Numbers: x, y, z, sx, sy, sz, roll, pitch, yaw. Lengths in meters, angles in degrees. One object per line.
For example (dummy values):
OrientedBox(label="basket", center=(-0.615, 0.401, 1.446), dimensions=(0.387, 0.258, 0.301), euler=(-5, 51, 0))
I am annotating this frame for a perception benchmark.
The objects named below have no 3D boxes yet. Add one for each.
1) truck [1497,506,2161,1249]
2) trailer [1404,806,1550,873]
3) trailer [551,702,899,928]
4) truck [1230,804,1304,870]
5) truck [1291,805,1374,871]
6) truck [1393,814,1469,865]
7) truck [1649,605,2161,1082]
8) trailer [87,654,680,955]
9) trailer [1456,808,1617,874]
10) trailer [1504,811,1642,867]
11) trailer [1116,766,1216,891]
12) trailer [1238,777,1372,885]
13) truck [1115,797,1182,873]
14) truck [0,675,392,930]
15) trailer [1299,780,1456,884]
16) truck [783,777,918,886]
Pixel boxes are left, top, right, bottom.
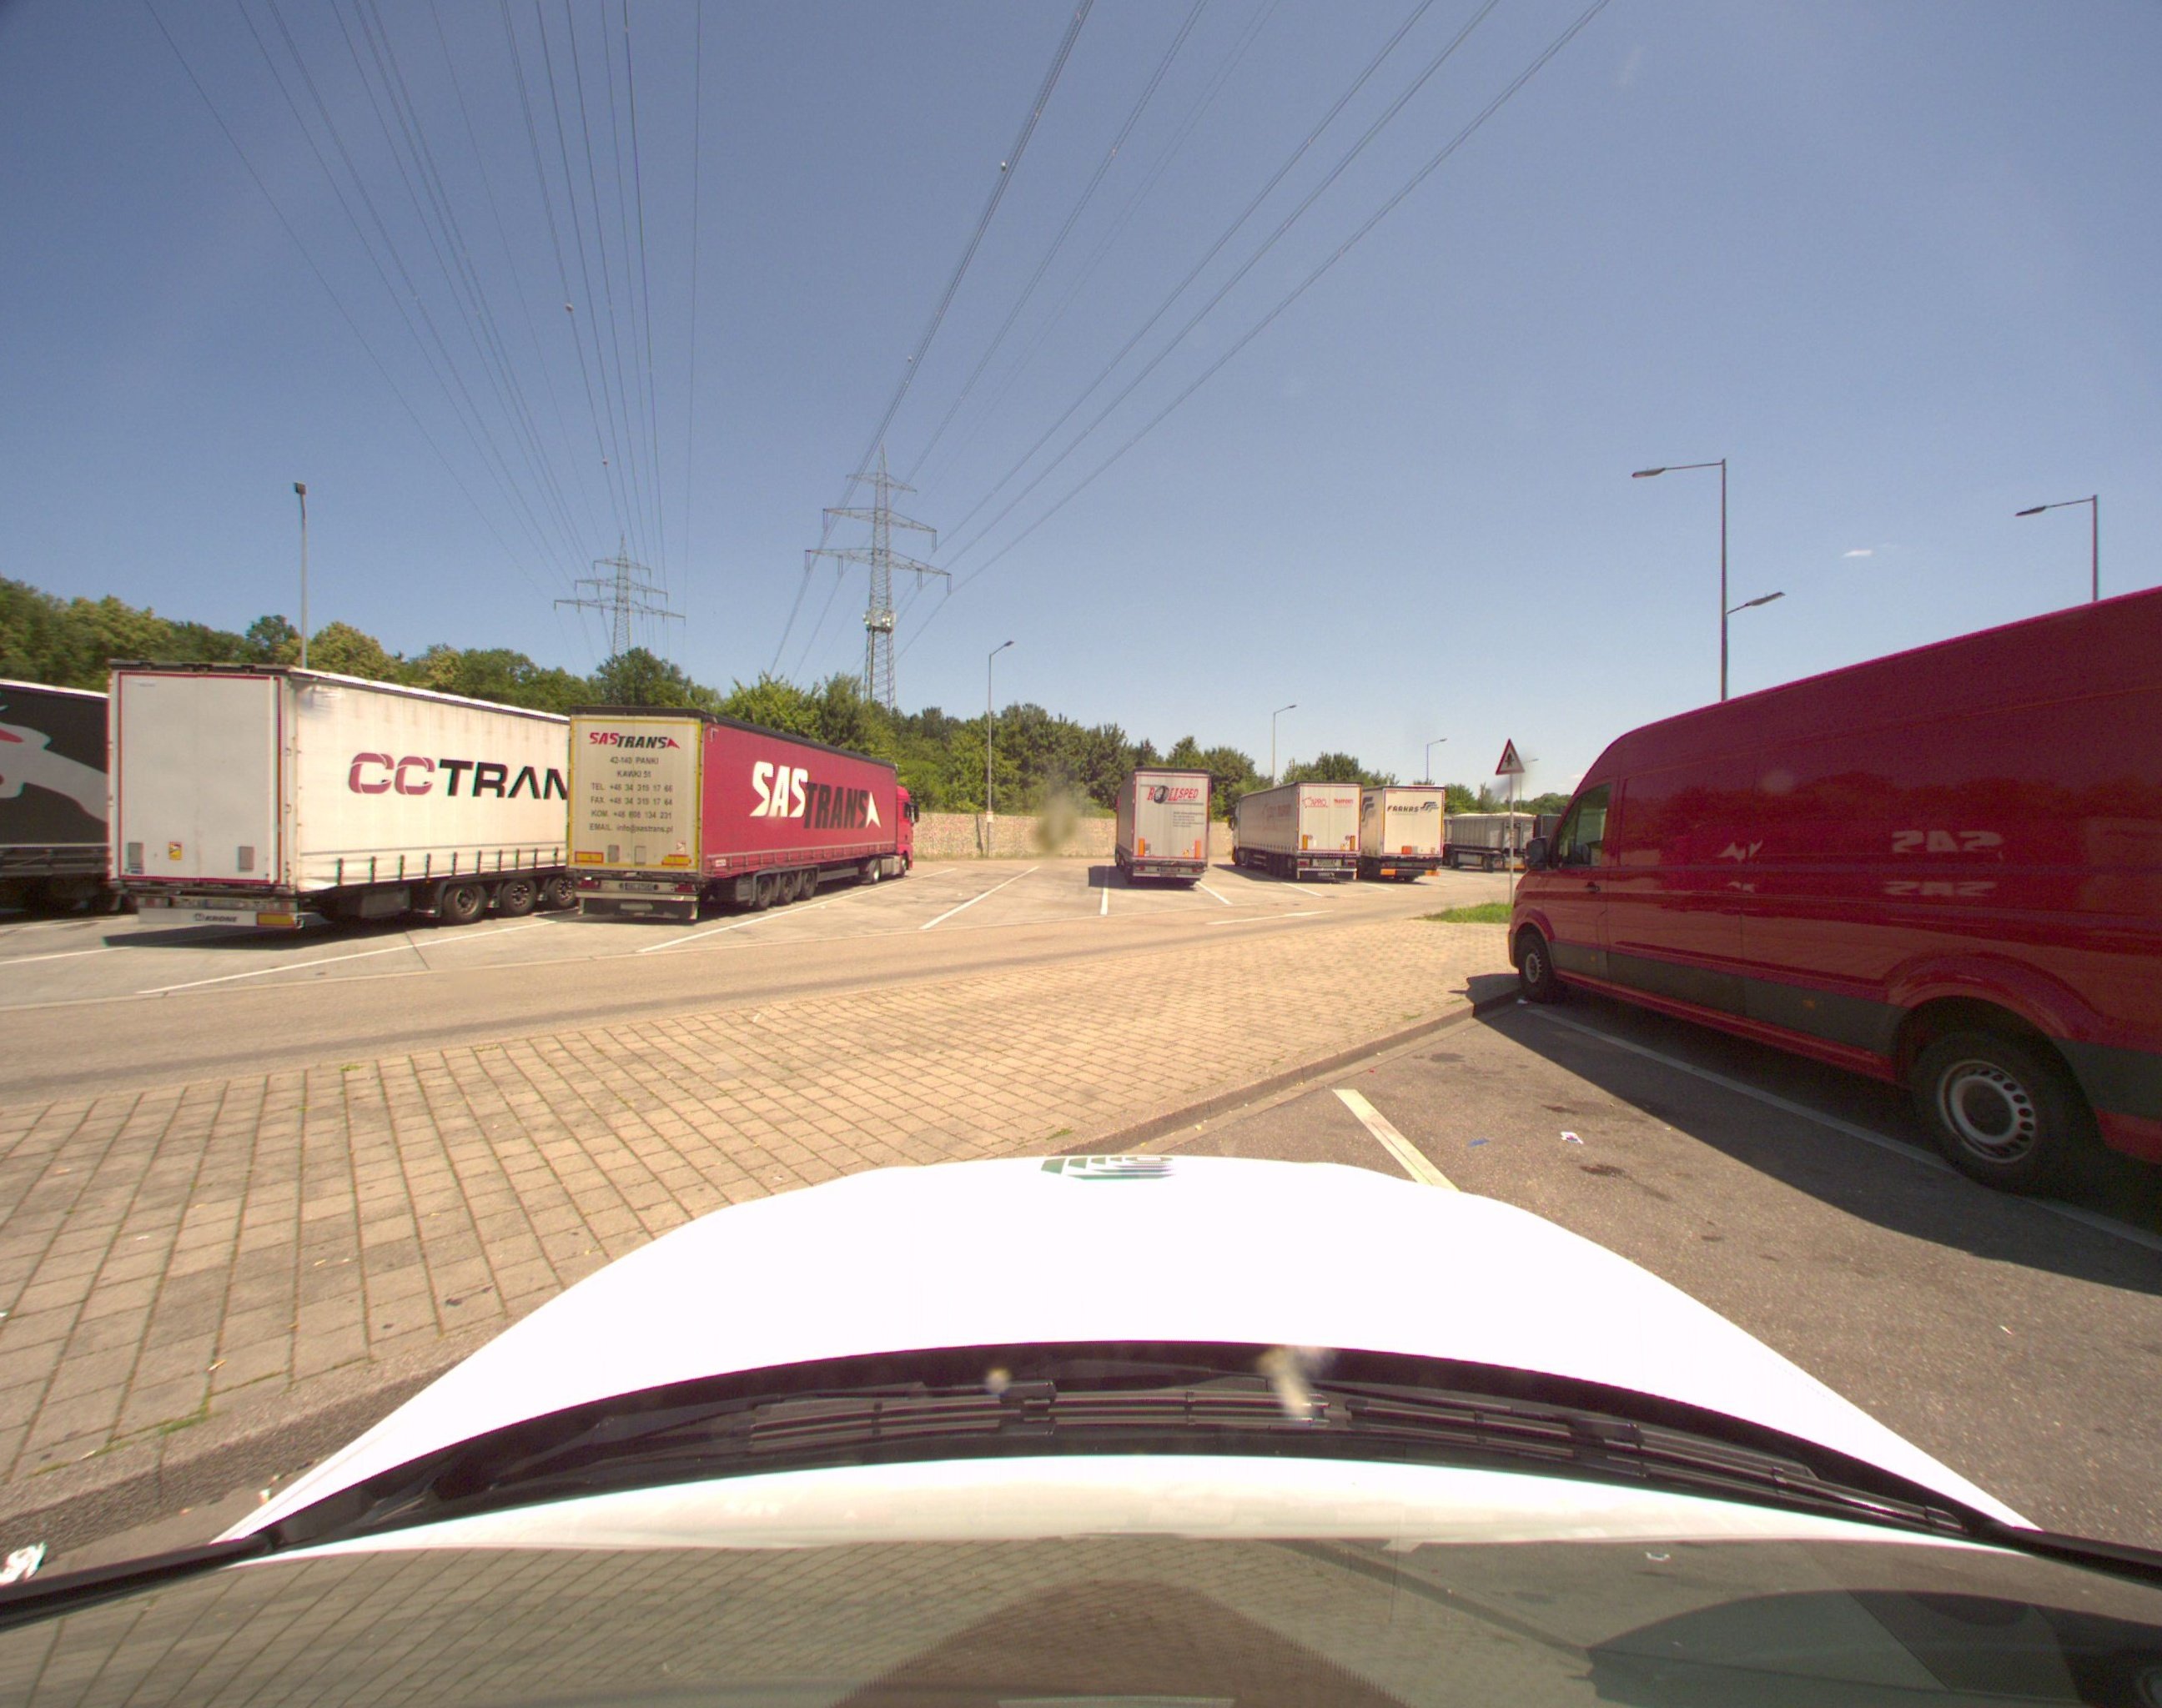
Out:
OrientedBox(label="truck", center=(5.137, 0.080, 5.450), dimensions=(2.001, 2.651, 6.466), euler=(-1, 0, 6))
OrientedBox(label="trailer", center=(24.431, -0.994, 51.498), dimensions=(2.847, 3.599, 13.770), euler=(1, 2, 2))
OrientedBox(label="trailer", center=(-8.053, -0.923, 21.723), dimensions=(2.811, 4.070, 13.770), euler=(1, 2, 2))
OrientedBox(label="truck", center=(10.170, -0.975, 45.062), dimensions=(2.855, 3.362, 5.977), euler=(1, 2, 2))
OrientedBox(label="truck", center=(13.767, -0.904, 45.049), dimensions=(2.855, 3.362, 5.977), euler=(1, 2, 2))
OrientedBox(label="truck", center=(24.617, -1.081, 57.595), dimensions=(2.855, 3.362, 5.977), euler=(1, 2, 2))
OrientedBox(label="truck", center=(7.996, -0.071, 6.883), dimensions=(2.406, 2.906, 6.466), euler=(-1, 0, 6))
OrientedBox(label="trailer", center=(-12.167, -0.837, 16.419), dimensions=(2.696, 4.101, 10.395), euler=(1, 2, 2))
OrientedBox(label="trailer", center=(28.409, -0.926, 52.010), dimensions=(2.847, 3.599, 13.770), euler=(1, 2, 2))
OrientedBox(label="trailer", center=(38.211, -1.297, 64.181), dimensions=(2.847, 3.904, 13.770), euler=(1, 2, 2))
OrientedBox(label="trailer", center=(3.040, -1.045, 33.207), dimensions=(2.848, 3.971, 13.767), euler=(1, 2, 1))
OrientedBox(label="trailer", center=(9.972, -1.118, 38.298), dimensions=(2.847, 4.109, 13.770), euler=(1, 2, 2))
OrientedBox(label="truck", center=(3.131, -0.935, 39.409), dimensions=(2.855, 3.362, 5.977), euler=(1, 2, 2))
OrientedBox(label="truck", center=(-18.556, -0.933, 15.826), dimensions=(2.696, 4.070, 8.694), euler=(1, 2, 2))
OrientedBox(label="trailer", center=(13.600, -1.093, 39.223), dimensions=(2.847, 4.109, 13.770), euler=(1, 2, 2))
OrientedBox(label="truck", center=(-7.839, -0.789, 28.540), dimensions=(2.801, 3.362, 5.977), euler=(1, 2, 2))
